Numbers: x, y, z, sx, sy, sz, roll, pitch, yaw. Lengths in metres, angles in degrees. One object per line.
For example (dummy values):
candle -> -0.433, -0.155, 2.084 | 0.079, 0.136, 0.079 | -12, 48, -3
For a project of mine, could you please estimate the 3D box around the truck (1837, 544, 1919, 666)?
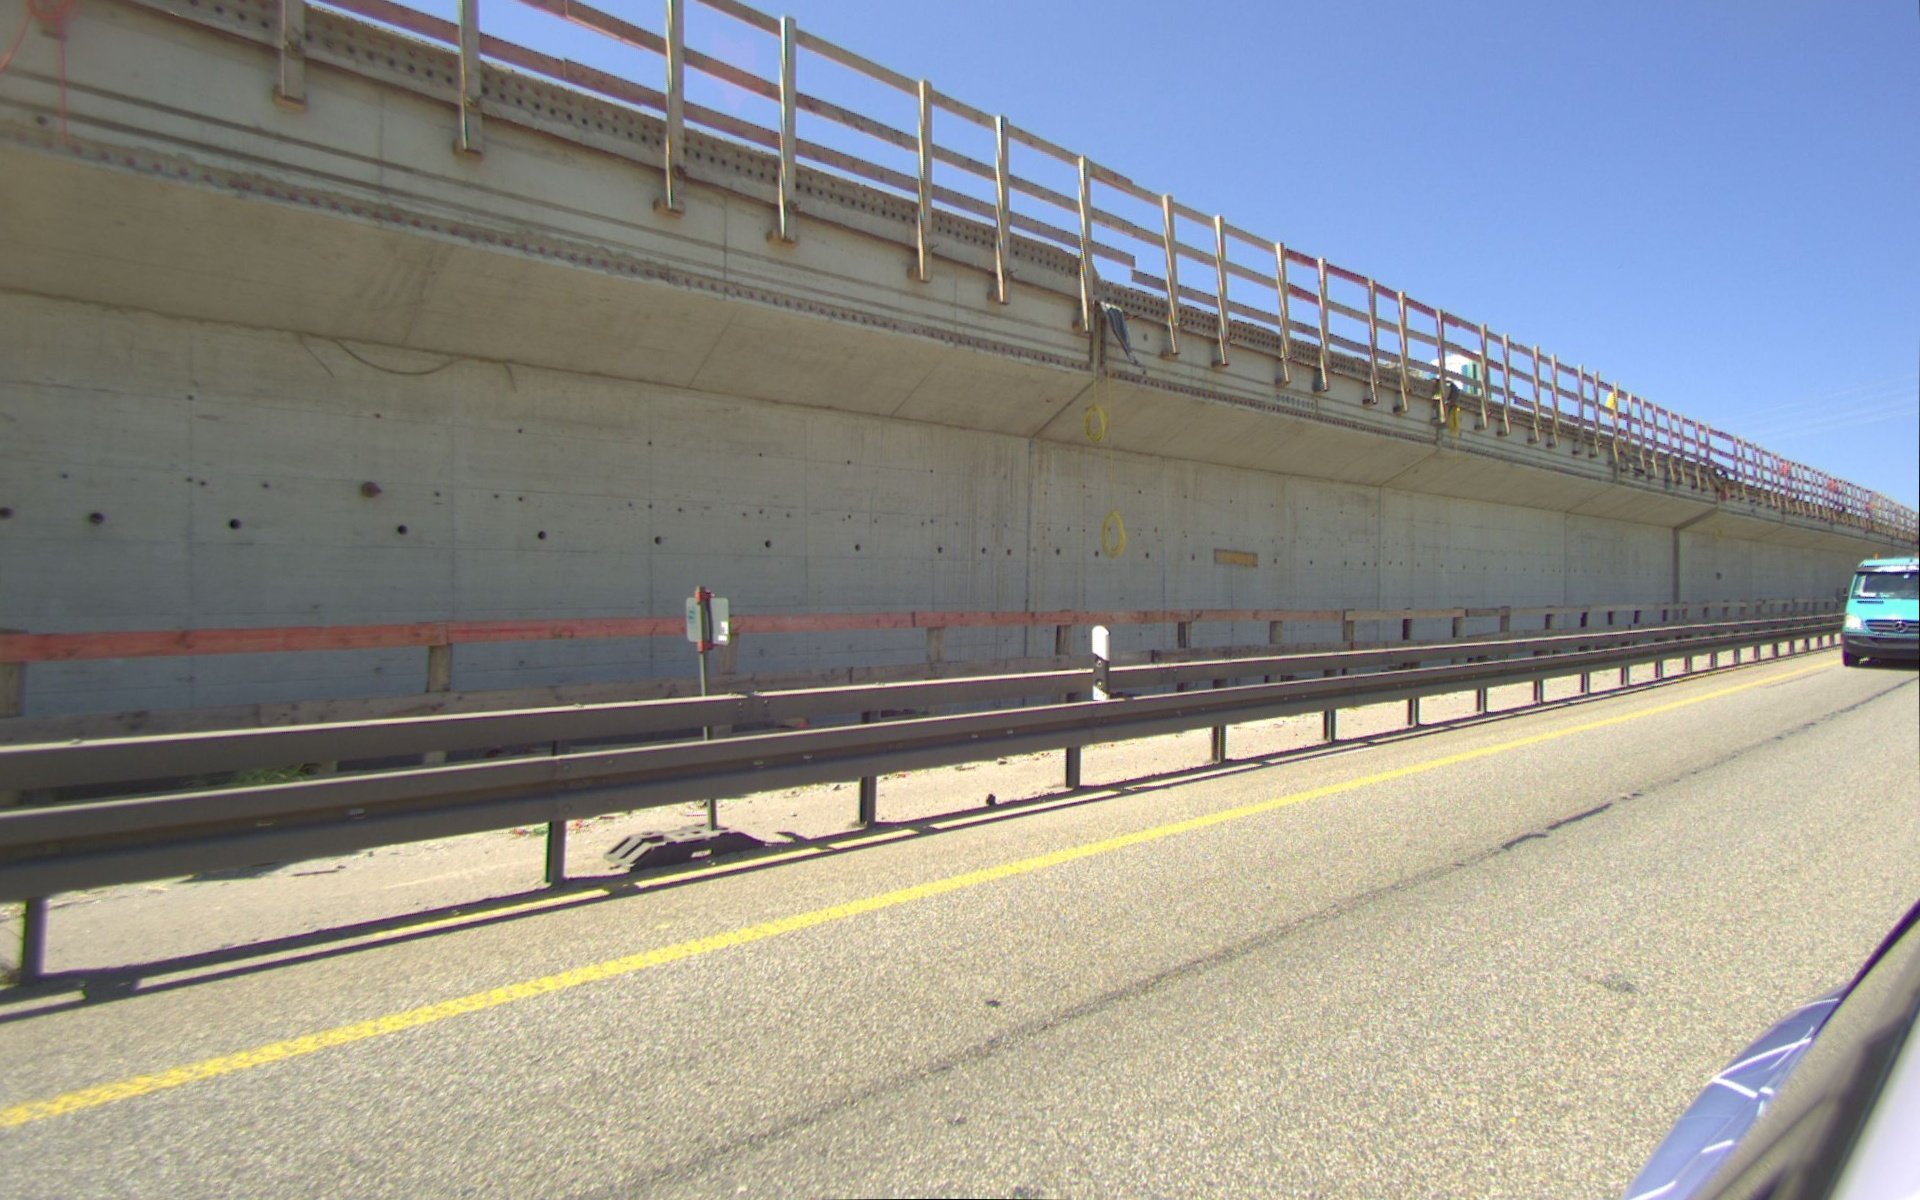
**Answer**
truck -> 21.397, 0.018, 22.268 | 7.303, 2.386, 2.138 | -2, 1, -41
